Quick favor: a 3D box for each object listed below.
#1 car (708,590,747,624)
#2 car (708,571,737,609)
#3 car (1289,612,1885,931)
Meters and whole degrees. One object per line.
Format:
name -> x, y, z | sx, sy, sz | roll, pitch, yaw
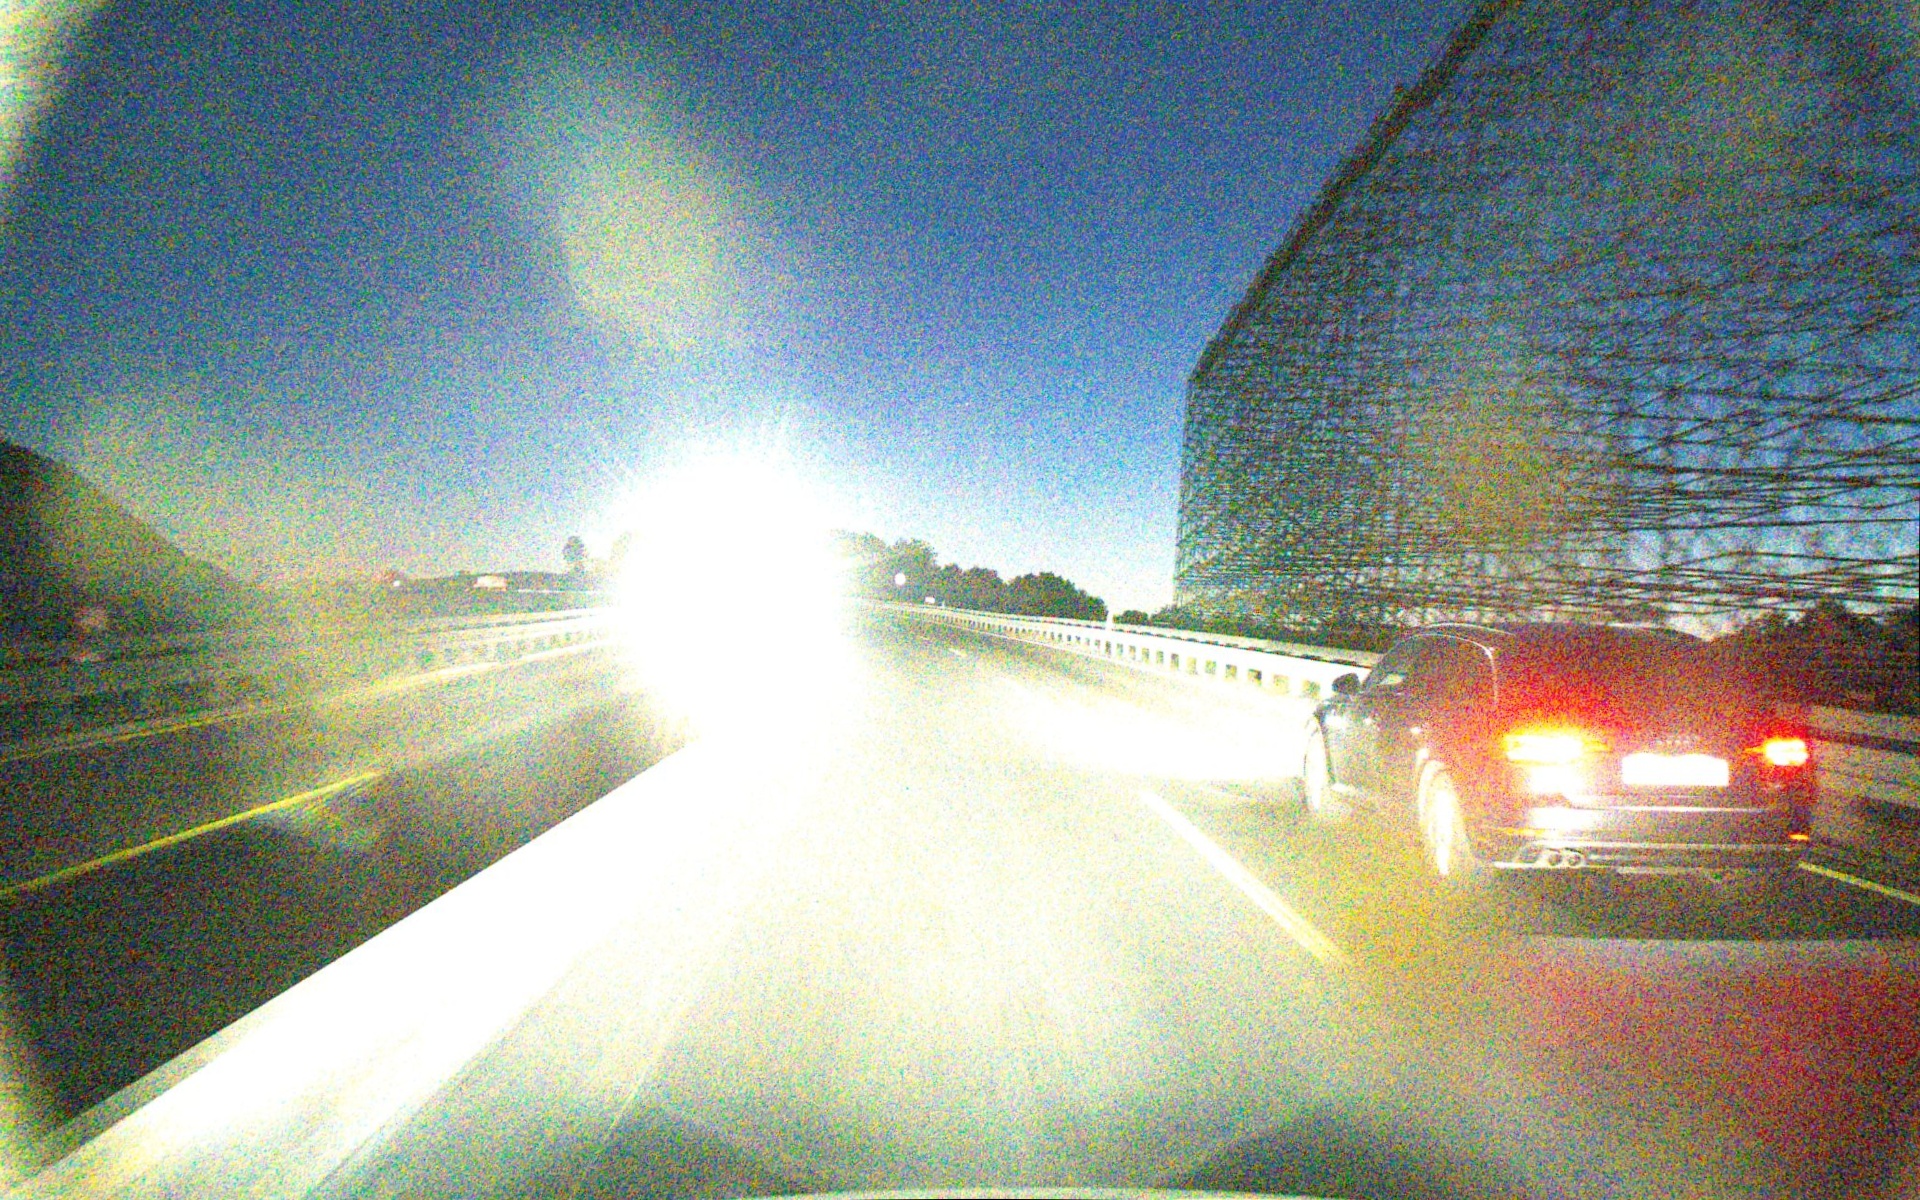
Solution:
car -> -10.386, 0.319, 74.078 | 1.653, 1.484, 4.193 | 0, 0, -8
car -> -20.658, -0.851, 144.115 | 2.439, 3.160, 7.371 | 0, -1, -8
car -> 3.413, 0.820, 10.151 | 1.771, 1.451, 4.874 | 0, 0, -1
